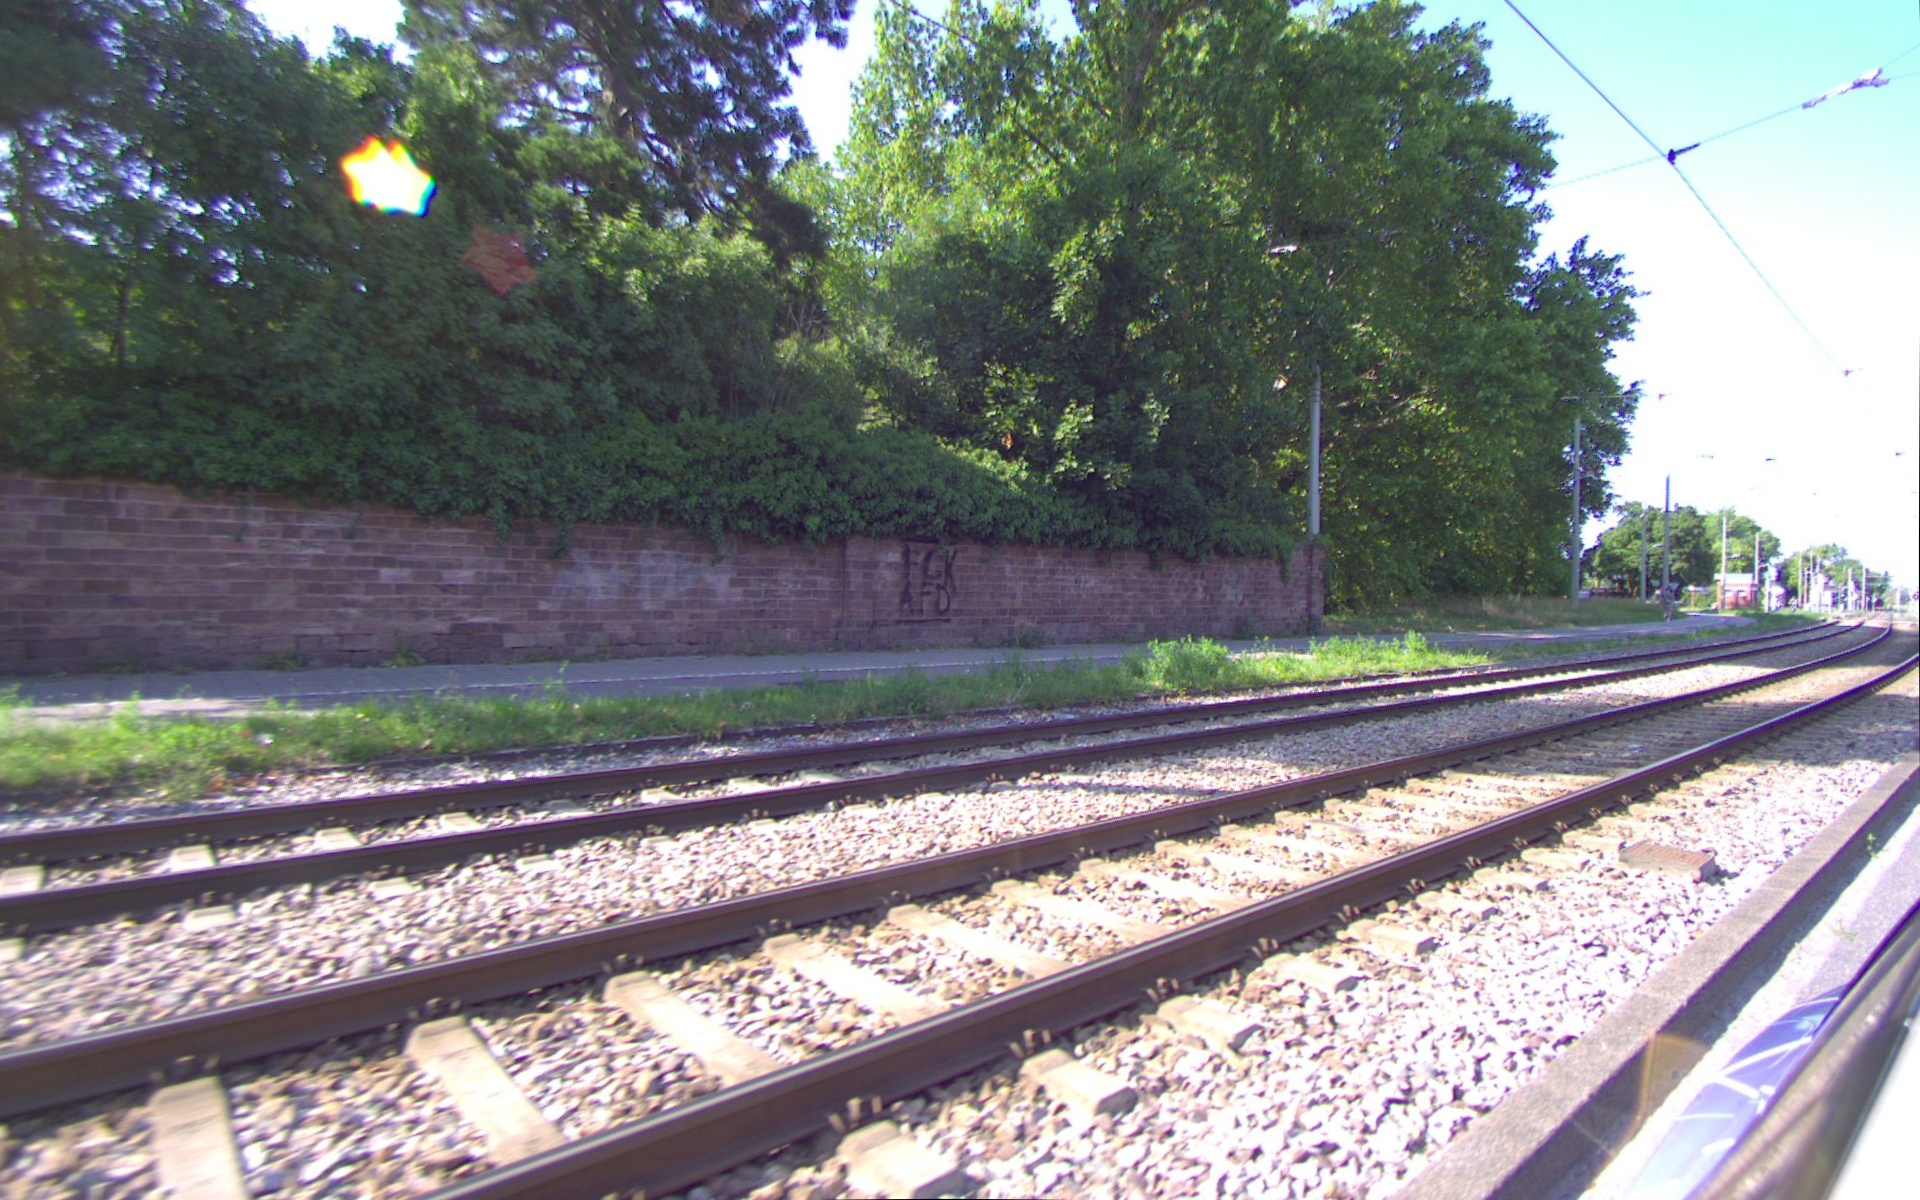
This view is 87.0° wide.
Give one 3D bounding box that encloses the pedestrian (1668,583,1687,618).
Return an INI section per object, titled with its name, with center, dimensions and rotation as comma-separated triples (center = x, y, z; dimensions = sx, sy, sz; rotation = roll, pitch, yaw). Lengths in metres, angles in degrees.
[pedestrian]
center = 35.718, 0.022, 50.384
dimensions = 0.869, 1.737, 0.501
rotation = 1, 1, -38
